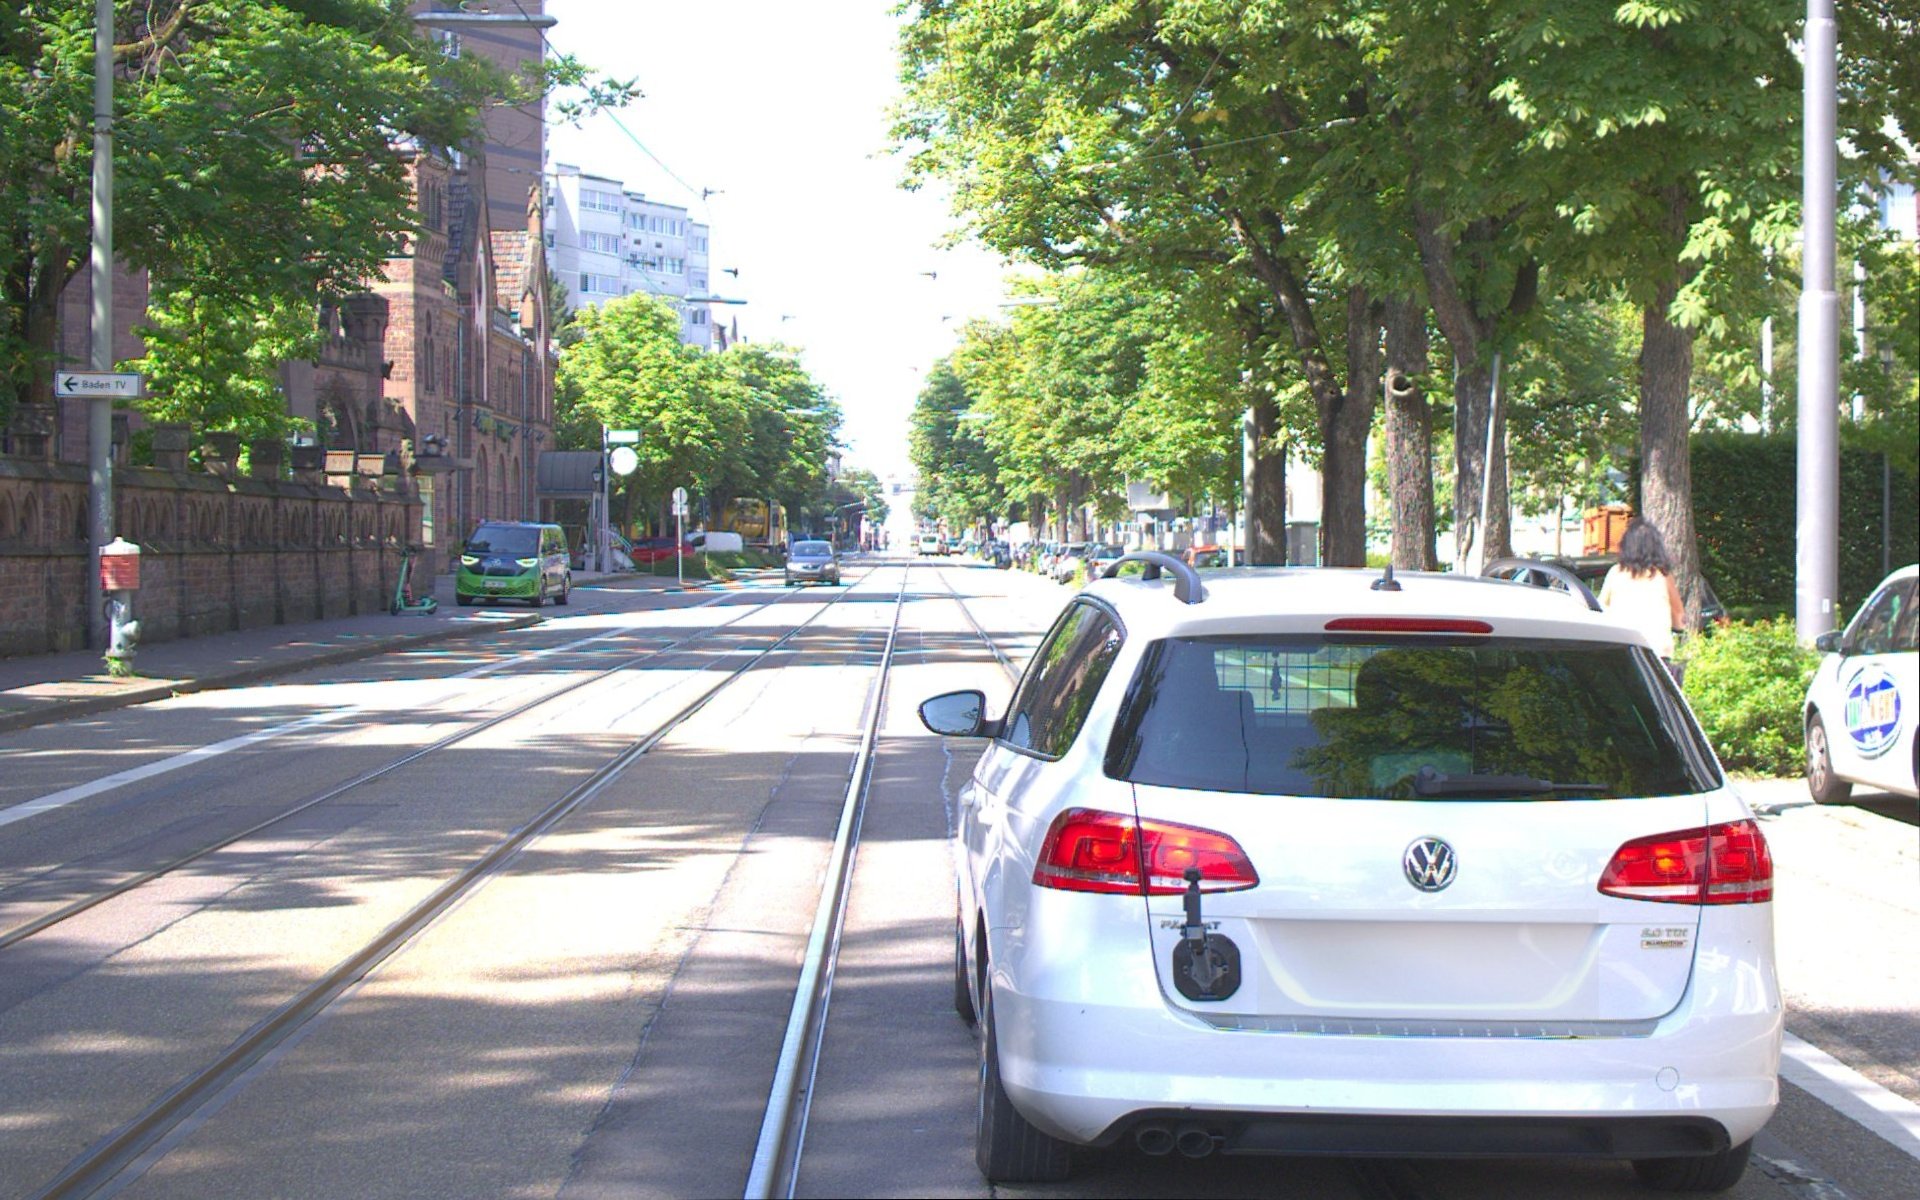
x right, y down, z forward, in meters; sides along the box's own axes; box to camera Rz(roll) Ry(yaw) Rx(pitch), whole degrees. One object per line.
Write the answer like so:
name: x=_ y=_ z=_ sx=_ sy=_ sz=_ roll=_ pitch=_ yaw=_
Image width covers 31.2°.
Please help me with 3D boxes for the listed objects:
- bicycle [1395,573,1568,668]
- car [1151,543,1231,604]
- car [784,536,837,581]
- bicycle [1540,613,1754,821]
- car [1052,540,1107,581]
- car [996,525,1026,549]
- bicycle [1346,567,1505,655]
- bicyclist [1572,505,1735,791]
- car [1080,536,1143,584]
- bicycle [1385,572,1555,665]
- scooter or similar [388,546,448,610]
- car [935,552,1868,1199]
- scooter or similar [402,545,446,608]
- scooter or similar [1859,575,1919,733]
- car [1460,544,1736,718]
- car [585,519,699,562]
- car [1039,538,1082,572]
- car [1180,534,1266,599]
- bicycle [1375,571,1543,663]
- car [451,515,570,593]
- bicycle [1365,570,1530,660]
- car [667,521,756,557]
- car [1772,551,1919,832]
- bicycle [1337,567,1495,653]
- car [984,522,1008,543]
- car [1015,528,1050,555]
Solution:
bicycle: x=5.641 y=0.217 z=37.219 sx=1.787 sy=1.007 sz=0.488 roll=0 pitch=1 yaw=-5
car: x=5.404 y=-0.639 z=80.686 sx=1.713 sy=1.396 sz=3.843 roll=0 pitch=1 yaw=1
car: x=-4.763 y=-1.339 z=109.855 sx=1.493 sy=1.380 sz=3.643 roll=0 pitch=1 yaw=0
bicycle: x=3.935 y=0.645 z=19.850 sx=0.811 sy=1.074 sz=2.012 roll=1 pitch=1 yaw=0
car: x=4.149 y=-1.400 z=120.084 sx=1.713 sy=1.396 sz=3.843 roll=0 pitch=1 yaw=-1
car: x=3.056 y=-3.795 z=206.828 sx=1.713 sy=1.396 sz=3.843 roll=0 pitch=1 yaw=0
bicycle: x=5.444 y=0.127 z=40.232 sx=1.787 sy=1.007 sz=0.488 roll=0 pitch=1 yaw=-5
bicyclist: x=4.008 y=0.265 z=19.919 sx=0.786 sy=1.623 sz=0.738 roll=0 pitch=1 yaw=0
car: x=4.485 y=-1.199 z=102.109 sx=1.713 sy=1.396 sz=3.843 roll=0 pitch=1 yaw=0
bicycle: x=5.603 y=0.200 z=37.801 sx=1.787 sy=1.007 sz=0.488 roll=0 pitch=1 yaw=-5
scooter or similar: x=-9.899 y=-0.399 z=62.802 sx=0.405 sy=1.151 sz=1.141 roll=1 pitch=1 yaw=34
car: x=0.867 y=0.605 z=9.064 sx=1.753 sy=1.437 sz=4.413 roll=1 pitch=1 yaw=-2
scooter or similar: x=-10.292 y=-0.459 z=66.073 sx=0.423 sy=1.196 sz=1.142 roll=0 pitch=1 yaw=14
scooter or similar: x=6.982 y=0.383 z=25.346 sx=0.379 sy=1.124 sz=1.091 roll=0 pitch=1 yaw=-3
car: x=5.749 y=0.227 z=31.486 sx=1.664 sy=1.439 sz=4.633 roll=0 pitch=1 yaw=0
car: x=-12.766 y=-2.384 z=138.079 sx=4.116 sy=1.525 sz=1.933 roll=2 pitch=2 yaw=-21
car: x=4.236 y=-1.900 z=145.487 sx=1.713 sy=1.396 sz=3.843 roll=0 pitch=1 yaw=0
car: x=5.392 y=-0.706 z=70.707 sx=1.713 sy=1.276 sz=3.843 roll=0 pitch=1 yaw=4
bicycle: x=5.570 y=0.183 z=38.378 sx=1.787 sy=1.007 sz=0.488 roll=0 pitch=1 yaw=-5
car: x=-10.307 y=-1.083 z=79.158 sx=1.993 sy=1.751 sz=4.712 roll=0 pitch=1 yaw=2
bicycle: x=5.518 y=0.165 z=38.961 sx=1.787 sy=1.007 sz=0.488 roll=0 pitch=1 yaw=-5
car: x=-12.370 y=-3.044 z=171.350 sx=3.988 sy=1.809 sz=2.000 roll=-1 pitch=1 yaw=-36
car: x=5.842 y=0.466 z=19.378 sx=1.590 sy=1.446 sz=3.946 roll=0 pitch=1 yaw=0
bicycle: x=5.400 y=0.111 z=40.751 sx=1.787 sy=1.007 sz=0.488 roll=0 pitch=1 yaw=-5
car: x=2.510 y=-4.725 z=240.544 sx=1.713 sy=1.396 sz=3.843 roll=0 pitch=1 yaw=0
car: x=3.696 y=-3.016 z=176.464 sx=1.713 sy=1.396 sz=3.843 roll=0 pitch=1 yaw=0
